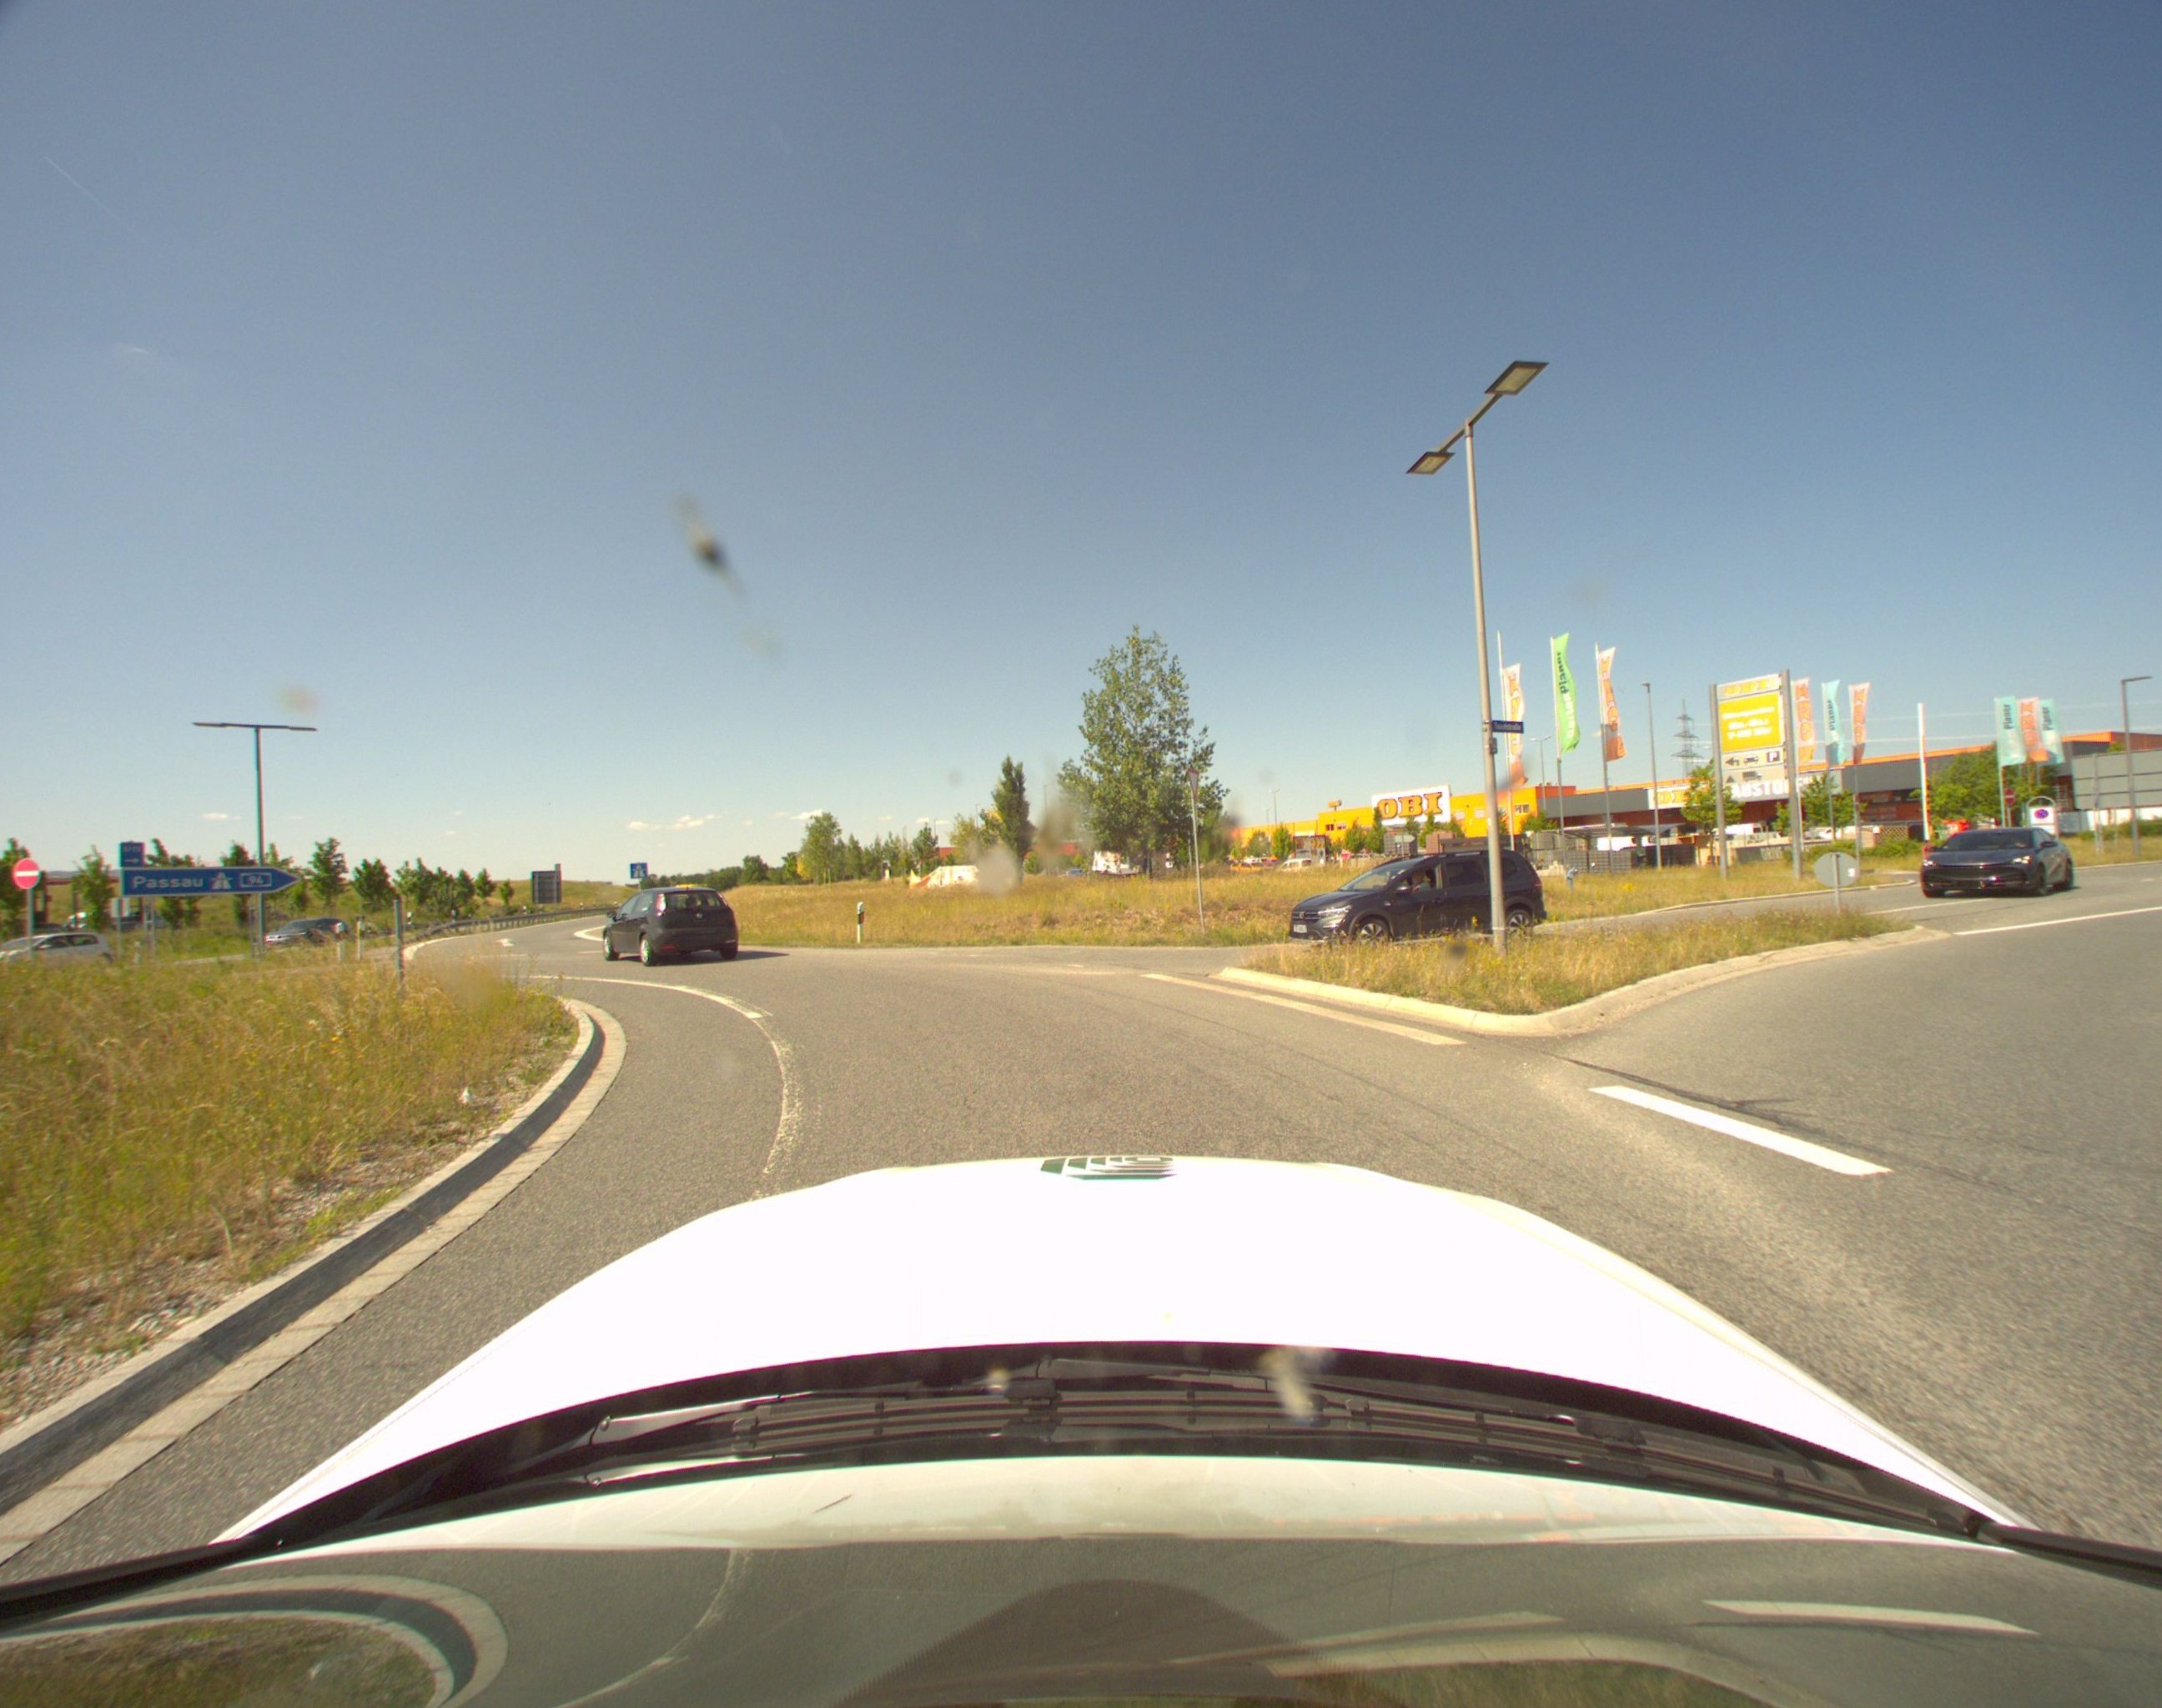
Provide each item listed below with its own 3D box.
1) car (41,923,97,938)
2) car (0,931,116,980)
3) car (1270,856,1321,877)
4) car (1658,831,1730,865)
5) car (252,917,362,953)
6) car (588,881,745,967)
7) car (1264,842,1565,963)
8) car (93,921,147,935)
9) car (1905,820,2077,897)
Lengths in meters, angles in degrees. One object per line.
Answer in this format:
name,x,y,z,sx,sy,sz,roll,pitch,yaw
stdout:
car,-86.917,6.519,69.944,2.715,1.009,1.235,-3,-1,-27
car,-37.262,3.628,29.126,1.690,1.414,3.566,-3,-1,-13
car,18.943,1.135,72.167,2.009,1.618,3.956,-2,-1,-36
car,35.054,-0.338,46.553,3.781,1.841,1.686,-1,-2,-26
car,-39.447,4.100,41.665,1.685,1.414,4.359,-3,-1,-5
car,-8.541,1.396,16.633,3.855,1.488,1.655,-4,-3,44
car,5.829,0.804,14.410,4.620,1.706,1.947,-3,-2,-15
car,-85.438,6.553,72.428,2.715,1.009,1.370,-3,-1,-27
car,22.257,0.083,19.870,4.715,1.627,2.056,-2,-3,-34
